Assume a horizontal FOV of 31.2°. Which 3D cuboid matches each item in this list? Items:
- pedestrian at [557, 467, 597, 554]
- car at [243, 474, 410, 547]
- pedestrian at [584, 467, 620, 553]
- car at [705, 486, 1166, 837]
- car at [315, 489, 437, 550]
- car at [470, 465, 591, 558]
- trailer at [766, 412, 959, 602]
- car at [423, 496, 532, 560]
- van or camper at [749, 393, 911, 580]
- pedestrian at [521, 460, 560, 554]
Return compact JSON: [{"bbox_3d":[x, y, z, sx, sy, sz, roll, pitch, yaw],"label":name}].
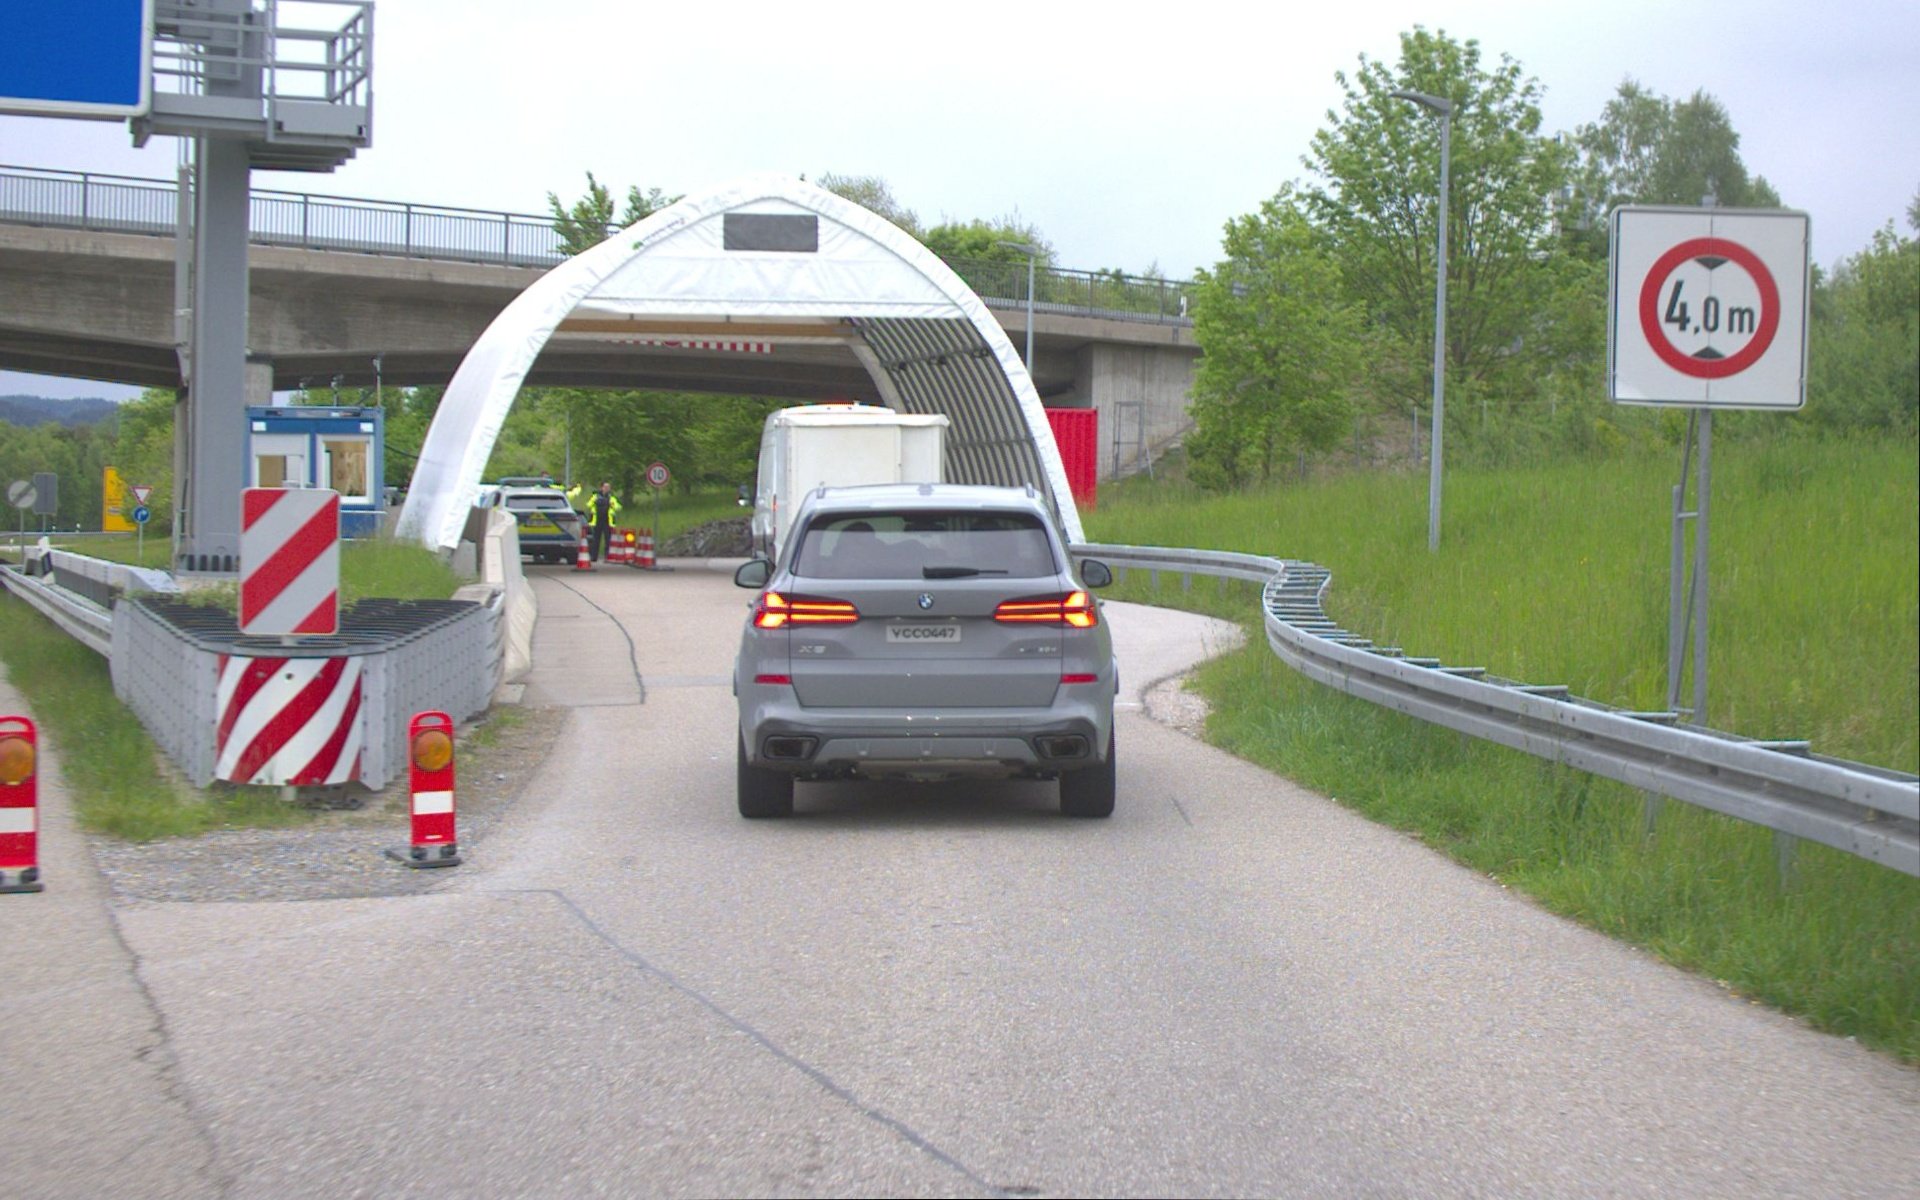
[{"bbox_3d":[-7.847,-1.829,70.402,0.720,1.769,0.690,-1,1,-12],"label":"pedestrian"},{"bbox_3d":[-16.601,-2.343,90.201,3.987,1.847,1.709,-1,1,3],"label":"car"},{"bbox_3d":[-7.442,-1.872,71.360,0.648,1.769,0.606,-1,1,-14],"label":"pedestrian"},{"bbox_3d":[-0.009,0.257,18.905,1.994,1.713,3.999,0,1,8],"label":"car"},{"bbox_3d":[-14.096,-1.951,82.887,1.515,1.437,3.315,-1,2,-38],"label":"car"},{"bbox_3d":[-8.508,-1.753,67.831,1.993,1.766,3.767,-1,2,-13],"label":"car"},{"bbox_3d":[-1.434,-1.232,47.258,2.278,2.422,6.818,0,1,-5],"label":"trailer"},{"bbox_3d":[-15.340,-2.295,109.117,1.993,2.007,4.000,-1,2,-32],"label":"car"},{"bbox_3d":[-2.091,-1.707,53.563,2.156,2.754,5.872,0,1,-6],"label":"van or camper"},{"bbox_3d":[-8.716,-1.928,71.454,0.720,1.939,0.690,-1,1,-12],"label":"pedestrian"}]
